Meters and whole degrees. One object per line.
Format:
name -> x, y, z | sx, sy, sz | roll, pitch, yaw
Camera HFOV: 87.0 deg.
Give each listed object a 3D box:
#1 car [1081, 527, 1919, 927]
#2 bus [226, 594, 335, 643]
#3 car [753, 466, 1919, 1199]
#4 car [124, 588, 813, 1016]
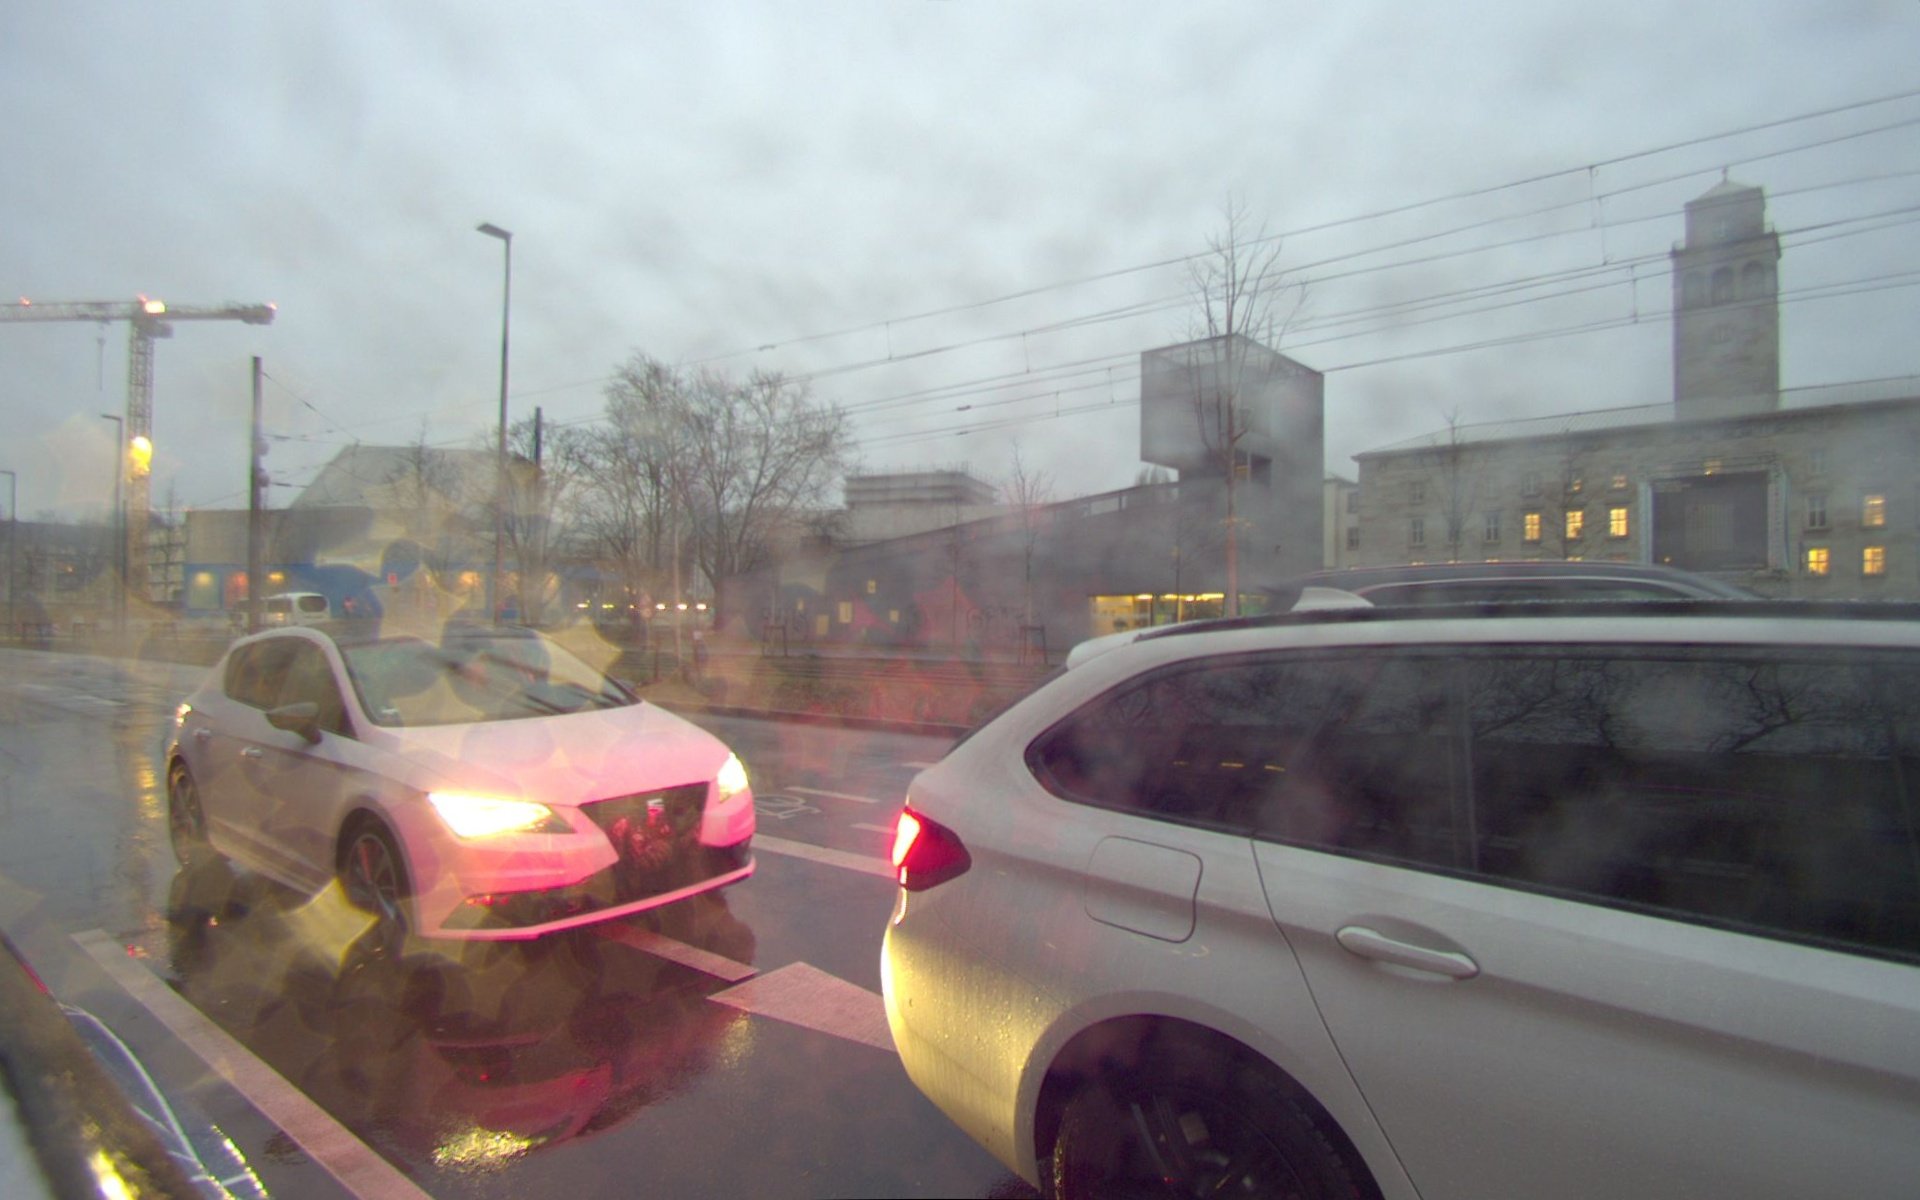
car -> 3.173, 0.598, 6.340 | 4.605, 1.756, 1.686 | -1, -2, 38
bus -> -53.213, 1.477, 79.060 | 12.277, 3.605, 2.783 | -1, -2, 35
car -> 1.954, 0.623, 1.736 | 4.919, 1.532, 1.890 | -1, -2, 40
car -> -2.871, 0.747, 5.514 | 4.124, 1.486, 1.756 | -1, -2, 38
